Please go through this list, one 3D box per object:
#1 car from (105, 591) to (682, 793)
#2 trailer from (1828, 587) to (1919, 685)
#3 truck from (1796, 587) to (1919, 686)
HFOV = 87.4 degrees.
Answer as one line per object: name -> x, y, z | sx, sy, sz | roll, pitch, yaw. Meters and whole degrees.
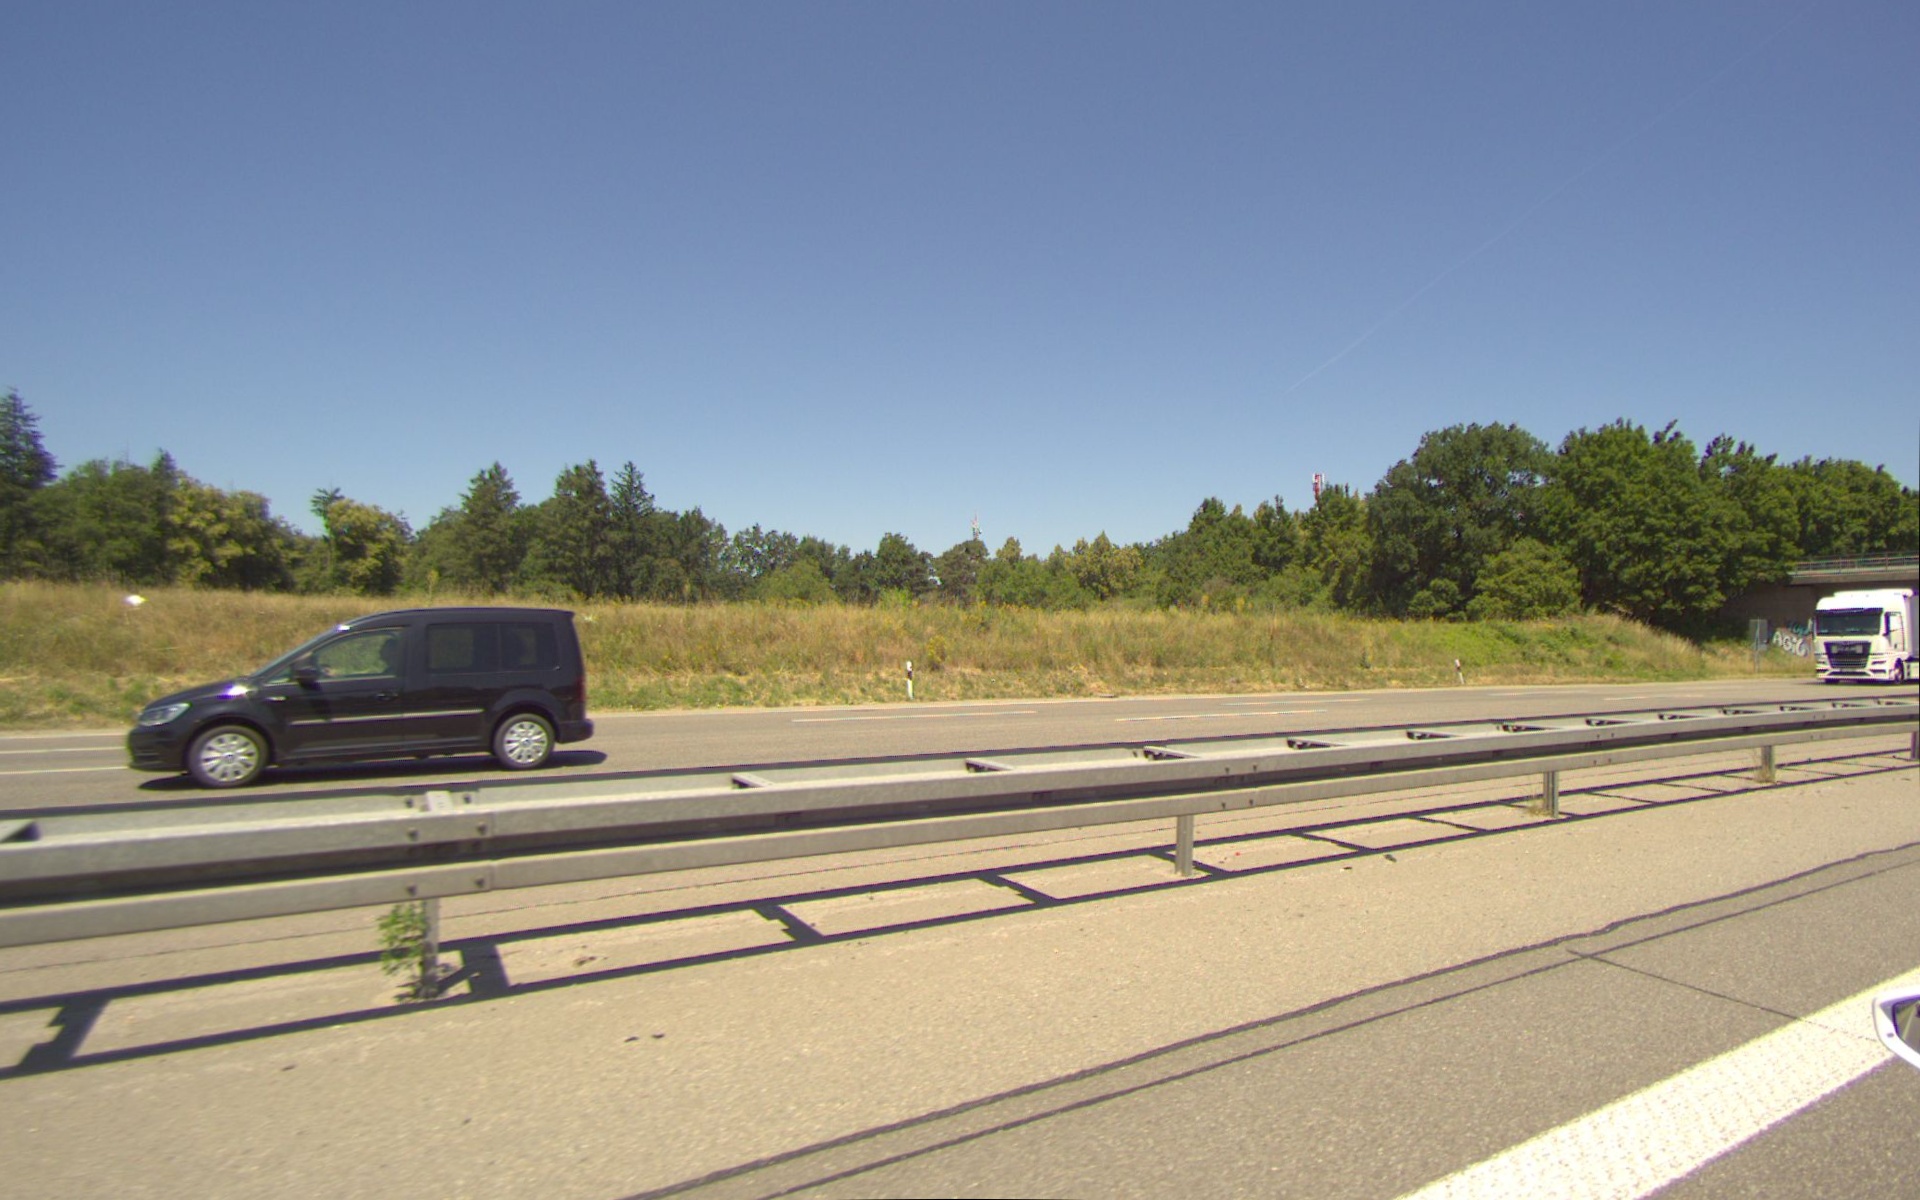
car -> -6.096, 0.956, 11.493 | 5.238, 1.835, 2.217 | 2, -4, -31
trailer -> 45.801, 1.781, 47.452 | 13.940, 4.161, 2.935 | 2, -4, -31
truck -> 39.851, 1.647, 43.844 | 6.872, 4.011, 2.935 | 1, -4, -31
